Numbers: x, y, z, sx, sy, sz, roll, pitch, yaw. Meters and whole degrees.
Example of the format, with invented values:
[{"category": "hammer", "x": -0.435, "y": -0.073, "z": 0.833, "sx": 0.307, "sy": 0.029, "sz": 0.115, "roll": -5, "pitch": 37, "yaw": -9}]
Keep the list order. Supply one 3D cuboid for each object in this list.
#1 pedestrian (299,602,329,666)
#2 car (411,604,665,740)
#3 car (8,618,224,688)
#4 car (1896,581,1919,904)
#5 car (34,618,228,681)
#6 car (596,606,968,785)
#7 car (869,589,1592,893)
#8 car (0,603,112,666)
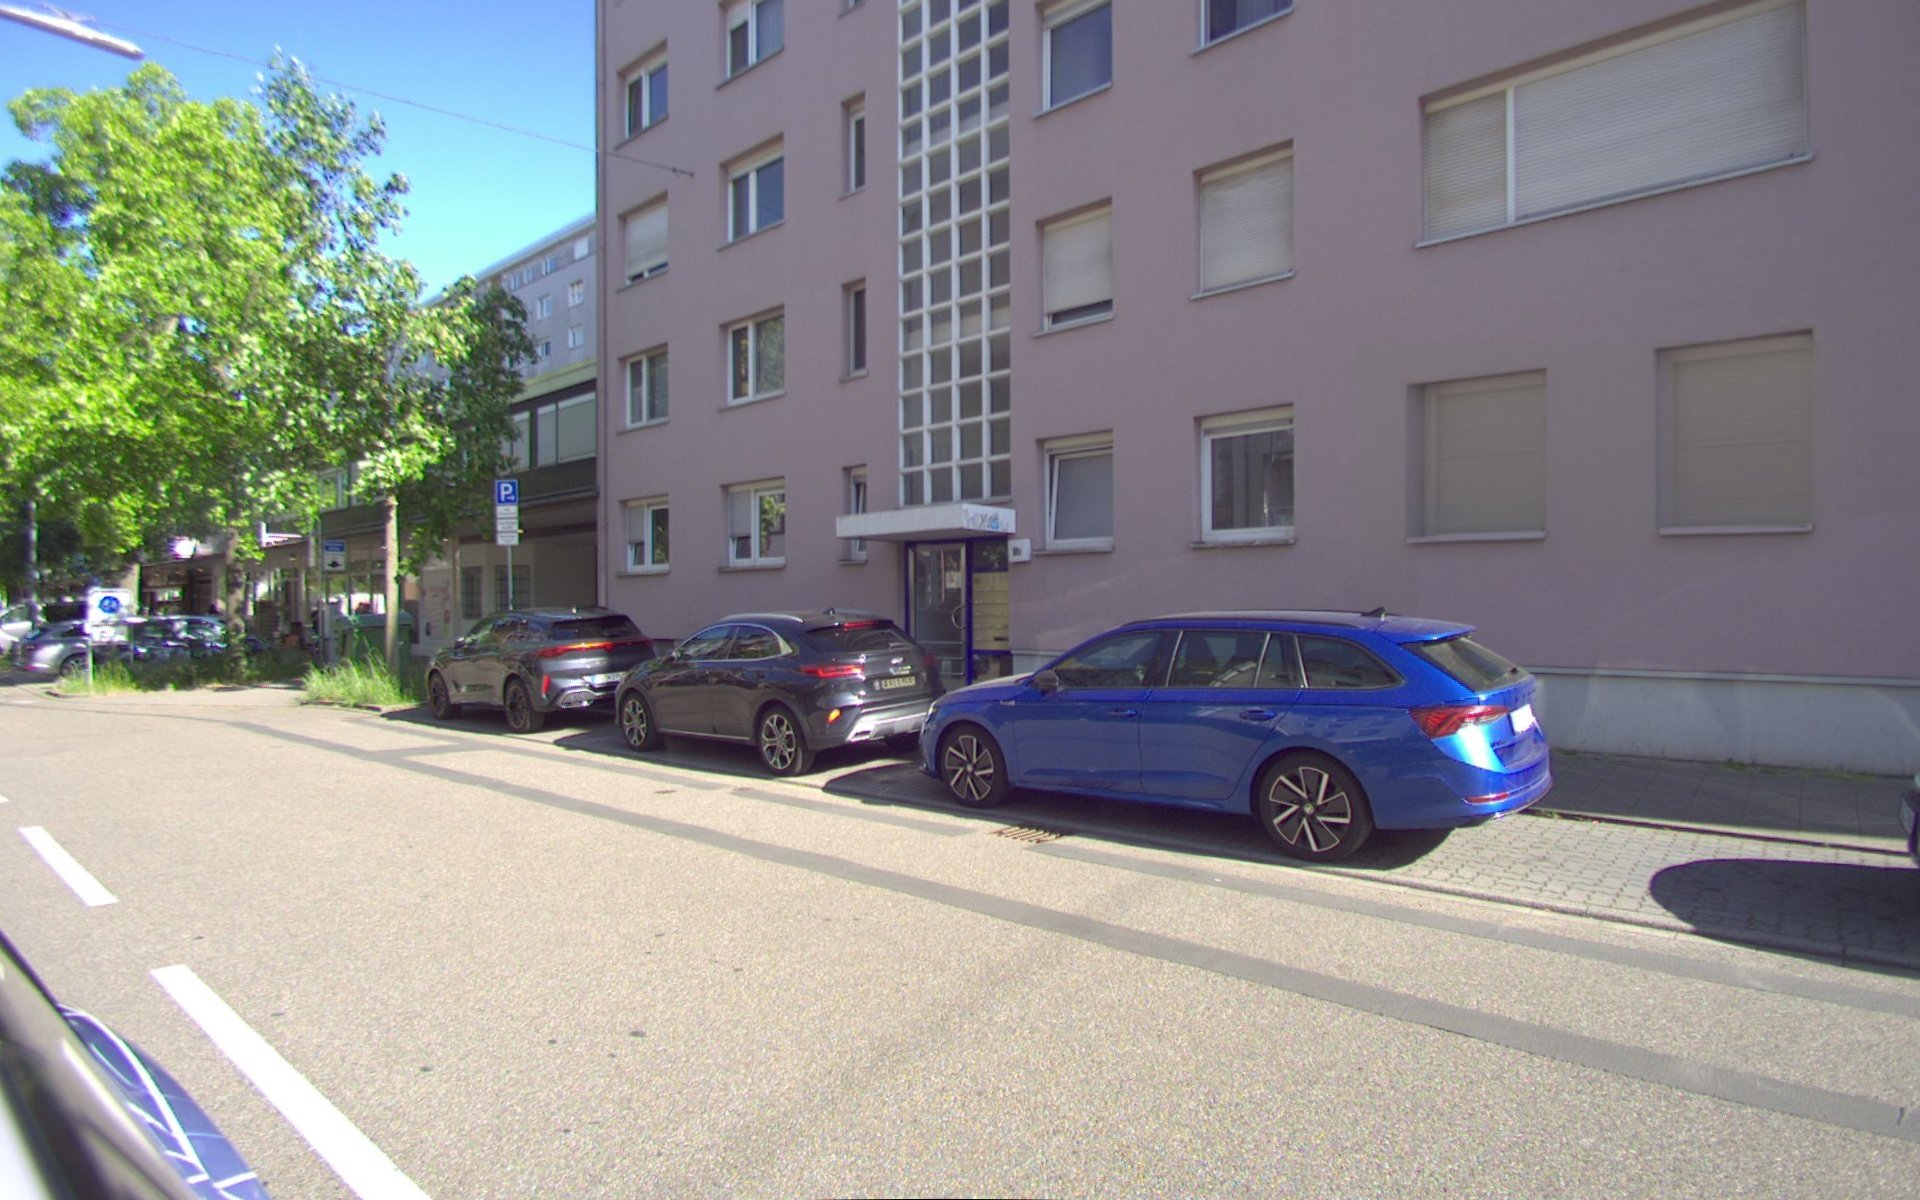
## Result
[{"category": "pedestrian", "x": -18.730, "y": 0.974, "z": 29.346, "sx": 0.502, "sy": 1.820, "sz": 0.615, "roll": -2, "pitch": -1, "yaw": 42}, {"category": "car", "x": -6.082, "y": 0.913, "z": 14.351, "sx": 4.157, "sy": 1.588, "sz": 1.704, "roll": -1, "pitch": 1, "yaw": 43}, {"category": "car", "x": -20.910, "y": 1.252, "z": 25.185, "sx": 1.913, "sy": 1.564, "sz": 3.943, "roll": -1, "pitch": -1, "yaw": 43}, {"category": "car", "x": 6.374, "y": 0.645, "z": 3.259, "sx": 4.797, "sy": 1.514, "sz": 1.805, "roll": -1, "pitch": 1, "yaw": 40}, {"category": "car", "x": -22.847, "y": 1.302, "z": 27.978, "sx": 1.913, "sy": 1.564, "sz": 3.943, "roll": -1, "pitch": -1, "yaw": 43}, {"category": "car", "x": -2.035, "y": 0.861, "z": 10.769, "sx": 4.157, "sy": 1.478, "sz": 1.704, "roll": -1, "pitch": 1, "yaw": 43}, {"category": "car", "x": 1.686, "y": 0.759, "z": 7.433, "sx": 4.797, "sy": 1.514, "sz": 1.805, "roll": -1, "pitch": 1, "yaw": 40}, {"category": "car", "x": -31.605, "y": 1.156, "z": 34.585, "sx": 1.913, "sy": 2.058, "sz": 3.824, "roll": -1, "pitch": -1, "yaw": 43}]
